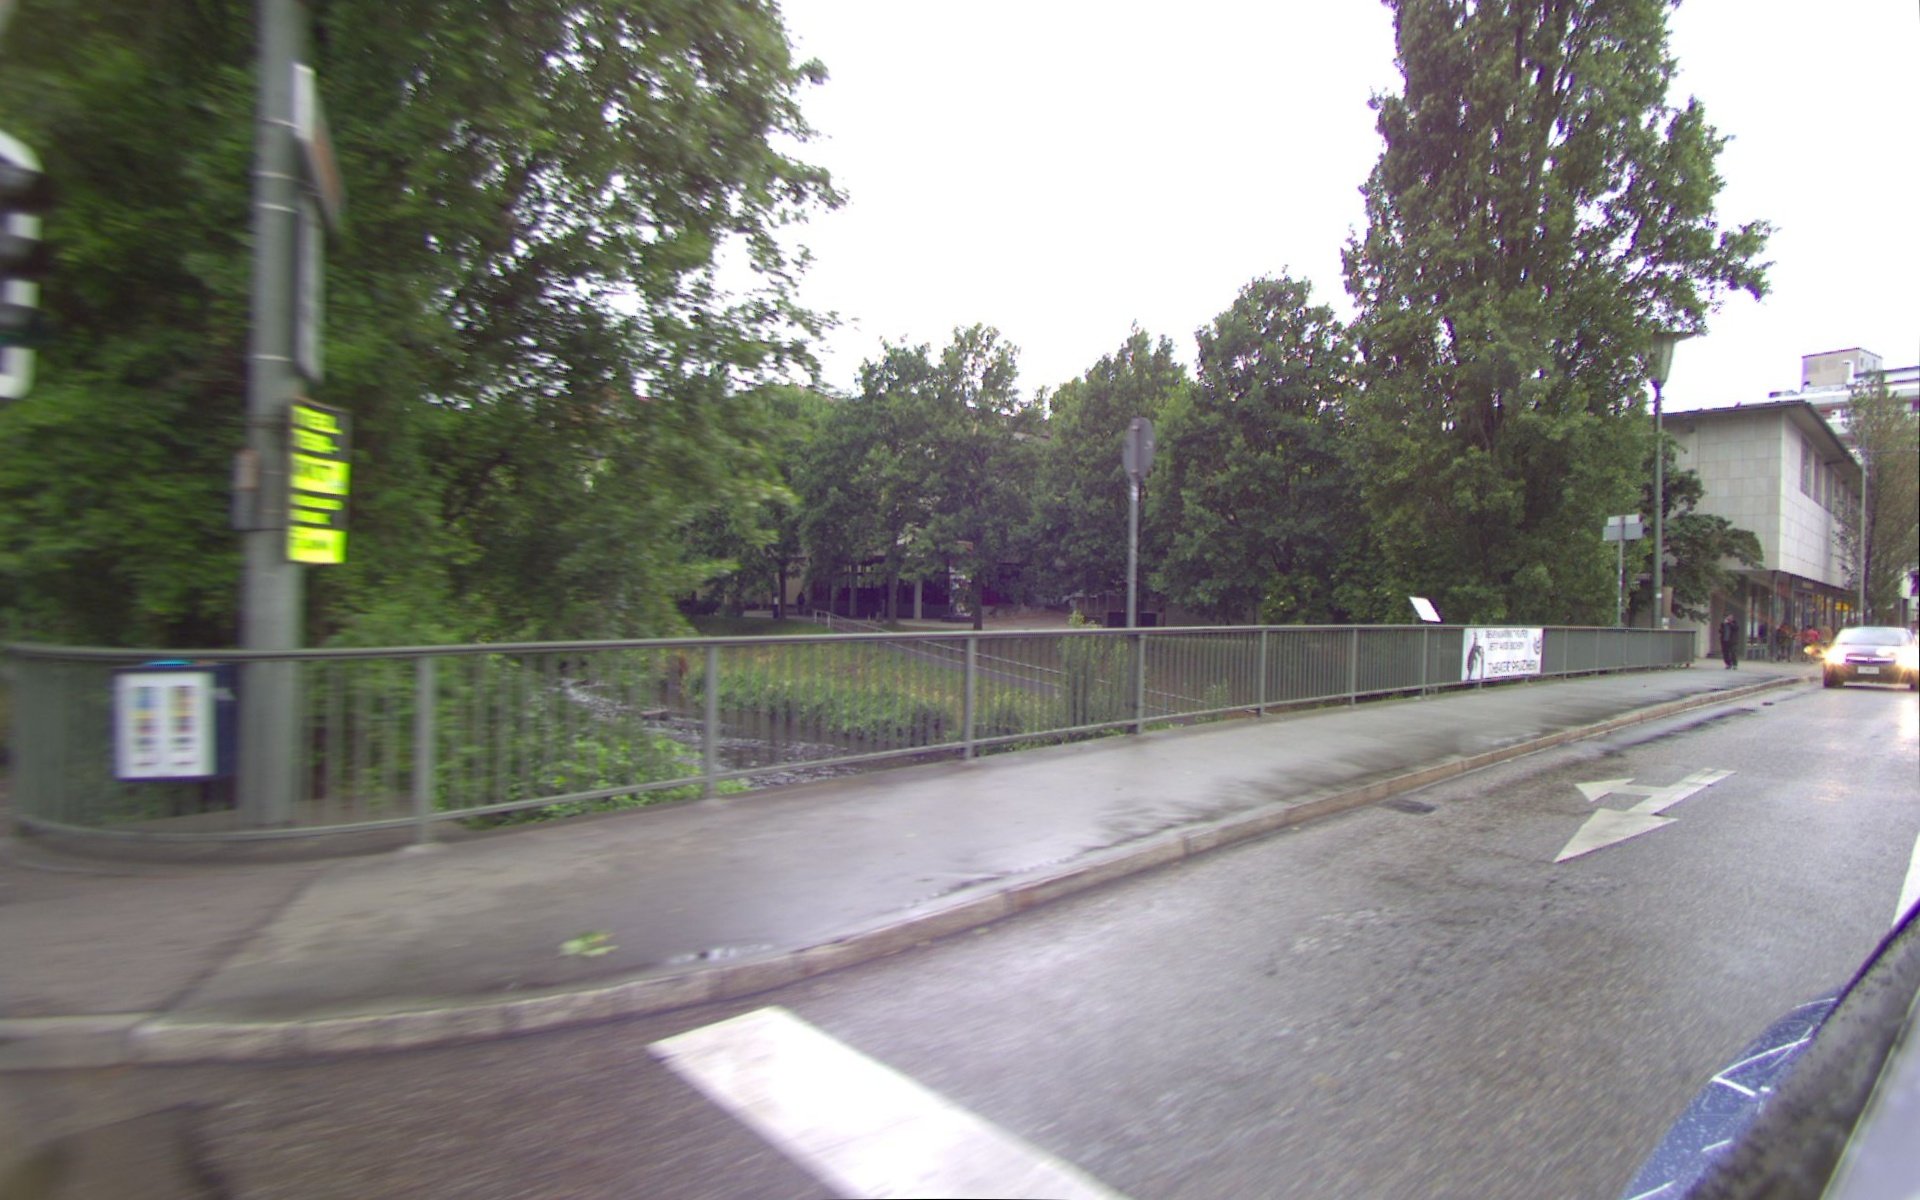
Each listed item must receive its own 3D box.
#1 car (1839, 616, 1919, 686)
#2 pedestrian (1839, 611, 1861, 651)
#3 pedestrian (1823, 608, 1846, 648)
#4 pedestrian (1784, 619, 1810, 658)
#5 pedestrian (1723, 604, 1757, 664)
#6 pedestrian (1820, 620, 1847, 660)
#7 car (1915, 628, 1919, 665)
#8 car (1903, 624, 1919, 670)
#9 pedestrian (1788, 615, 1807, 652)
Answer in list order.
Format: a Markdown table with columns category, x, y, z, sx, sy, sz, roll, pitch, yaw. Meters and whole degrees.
| category | x | y | z | sx | sy | sz | roll | pitch | yaw |
| --- | --- | --- | --- | --- | --- | --- | --- | --- | --- |
| car | 21.570 | 1.150 | 23.352 | 3.680 | 1.476 | 1.709 | 3 | -2 | -45 |
| pedestrian | 41.337 | 1.428 | 46.986 | 0.907 | 1.789 | 0.654 | 2 | 1 | -44 |
| pedestrian | 40.939 | 1.324 | 47.385 | 0.596 | 1.824 | 0.699 | 2 | 1 | -44 |
| pedestrian | 35.685 | 1.626 | 43.159 | 0.596 | 1.609 | 0.726 | 2 | 1 | -44 |
| pedestrian | 22.370 | 0.966 | 29.021 | 0.554 | 1.685 | 0.640 | 4 | -1 | -44 |
| pedestrian | 36.455 | 1.658 | 42.229 | 0.756 | 1.640 | 0.718 | 2 | 1 | -44 |
| car | 46.049 | 2.157 | 47.224 | 4.173 | 1.700 | 1.734 | 1 | -1 | -41 |
| car | 32.543 | 1.558 | 33.627 | 3.567 | 1.459 | 1.593 | 1 | -1 | -44 |
| pedestrian | 40.148 | 1.601 | 48.514 | 0.524 | 1.740 | 0.538 | 2 | 0 | -35 |
